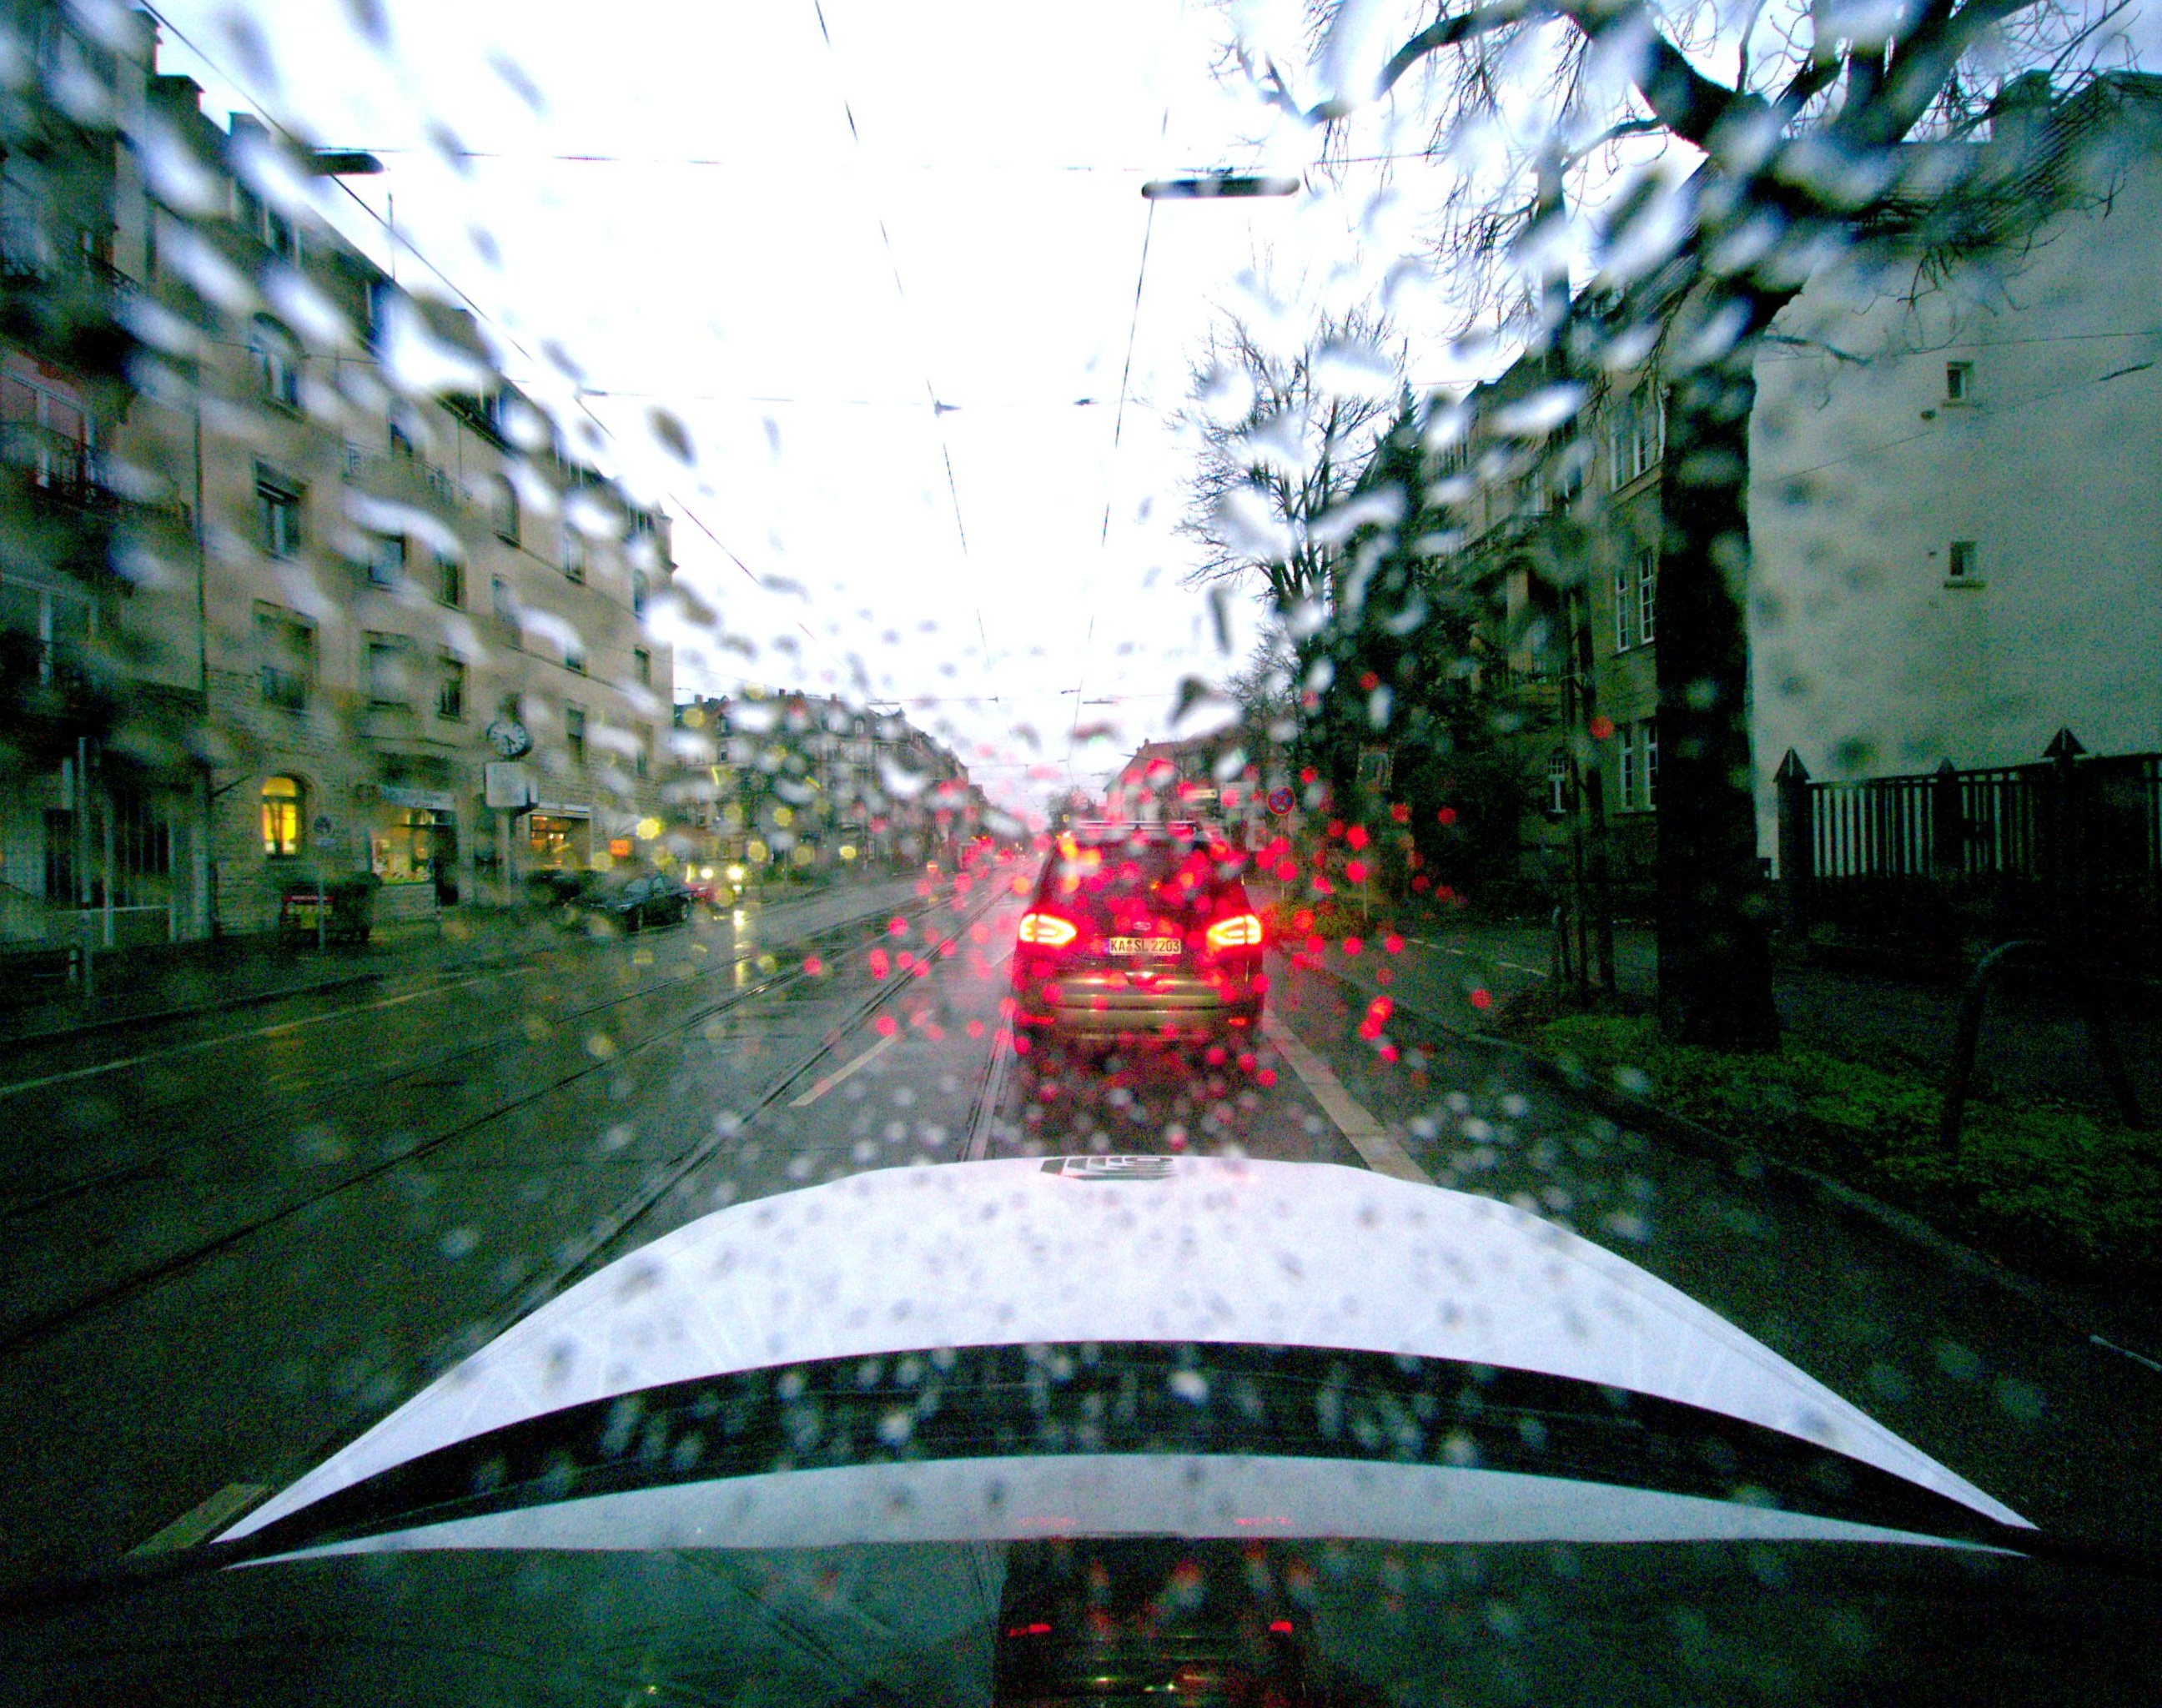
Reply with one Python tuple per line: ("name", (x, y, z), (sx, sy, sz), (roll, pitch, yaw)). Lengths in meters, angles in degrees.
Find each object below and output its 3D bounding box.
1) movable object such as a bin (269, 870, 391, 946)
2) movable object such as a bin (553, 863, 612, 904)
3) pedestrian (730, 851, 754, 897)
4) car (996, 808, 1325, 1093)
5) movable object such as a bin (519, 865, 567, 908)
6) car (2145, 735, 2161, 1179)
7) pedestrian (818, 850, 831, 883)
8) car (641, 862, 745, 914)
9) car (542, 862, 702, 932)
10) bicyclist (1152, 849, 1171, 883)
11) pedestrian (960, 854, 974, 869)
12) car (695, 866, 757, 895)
("movable object such as a bin", (-15.093, 1.065, 16.417), (1.264, 1.420, 1.249), (-1, 0, -2))
("movable object such as a bin", (-17.403, 1.025, 28.478), (1.290, 1.367, 1.251), (-1, 0, -2))
("pedestrian", (-14.931, 0.868, 35.873), (0.748, 2.014, 0.652), (-1, -1, 34))
("car", (0.529, 0.613, 7.536), (2.097, 1.816, 4.660), (0, 0, 0))
("movable object such as a bin", (-17.860, 1.058, 27.063), (0.896, 1.377, 1.006), (-1, 0, -2))
("car", (4.462, 0.540, 0.124), (2.025, 1.875, 4.959), (-2, 0, -2))
("pedestrian", (-15.888, 0.758, 50.415), (0.707, 2.013, 0.656), (-1, 0, -21))
("car", (-13.375, 1.122, 28.374), (2.035, 1.551, 4.022), (2, 0, -7))
("car", (-12.486, 1.096, 22.566), (1.982, 1.645, 4.623), (3, -1, -4))
("bicyclist", (3.972, 0.578, 40.196), (0.716, 1.662, 1.054), (2, 0, -6))
("pedestrian", (-9.557, 0.628, 68.377), (1.044, 1.200, 0.884), (-1, -1, -1))
("car", (-22.704, 1.670, 52.013), (3.949, 1.673, 2.035), (-1, 0, 40))
